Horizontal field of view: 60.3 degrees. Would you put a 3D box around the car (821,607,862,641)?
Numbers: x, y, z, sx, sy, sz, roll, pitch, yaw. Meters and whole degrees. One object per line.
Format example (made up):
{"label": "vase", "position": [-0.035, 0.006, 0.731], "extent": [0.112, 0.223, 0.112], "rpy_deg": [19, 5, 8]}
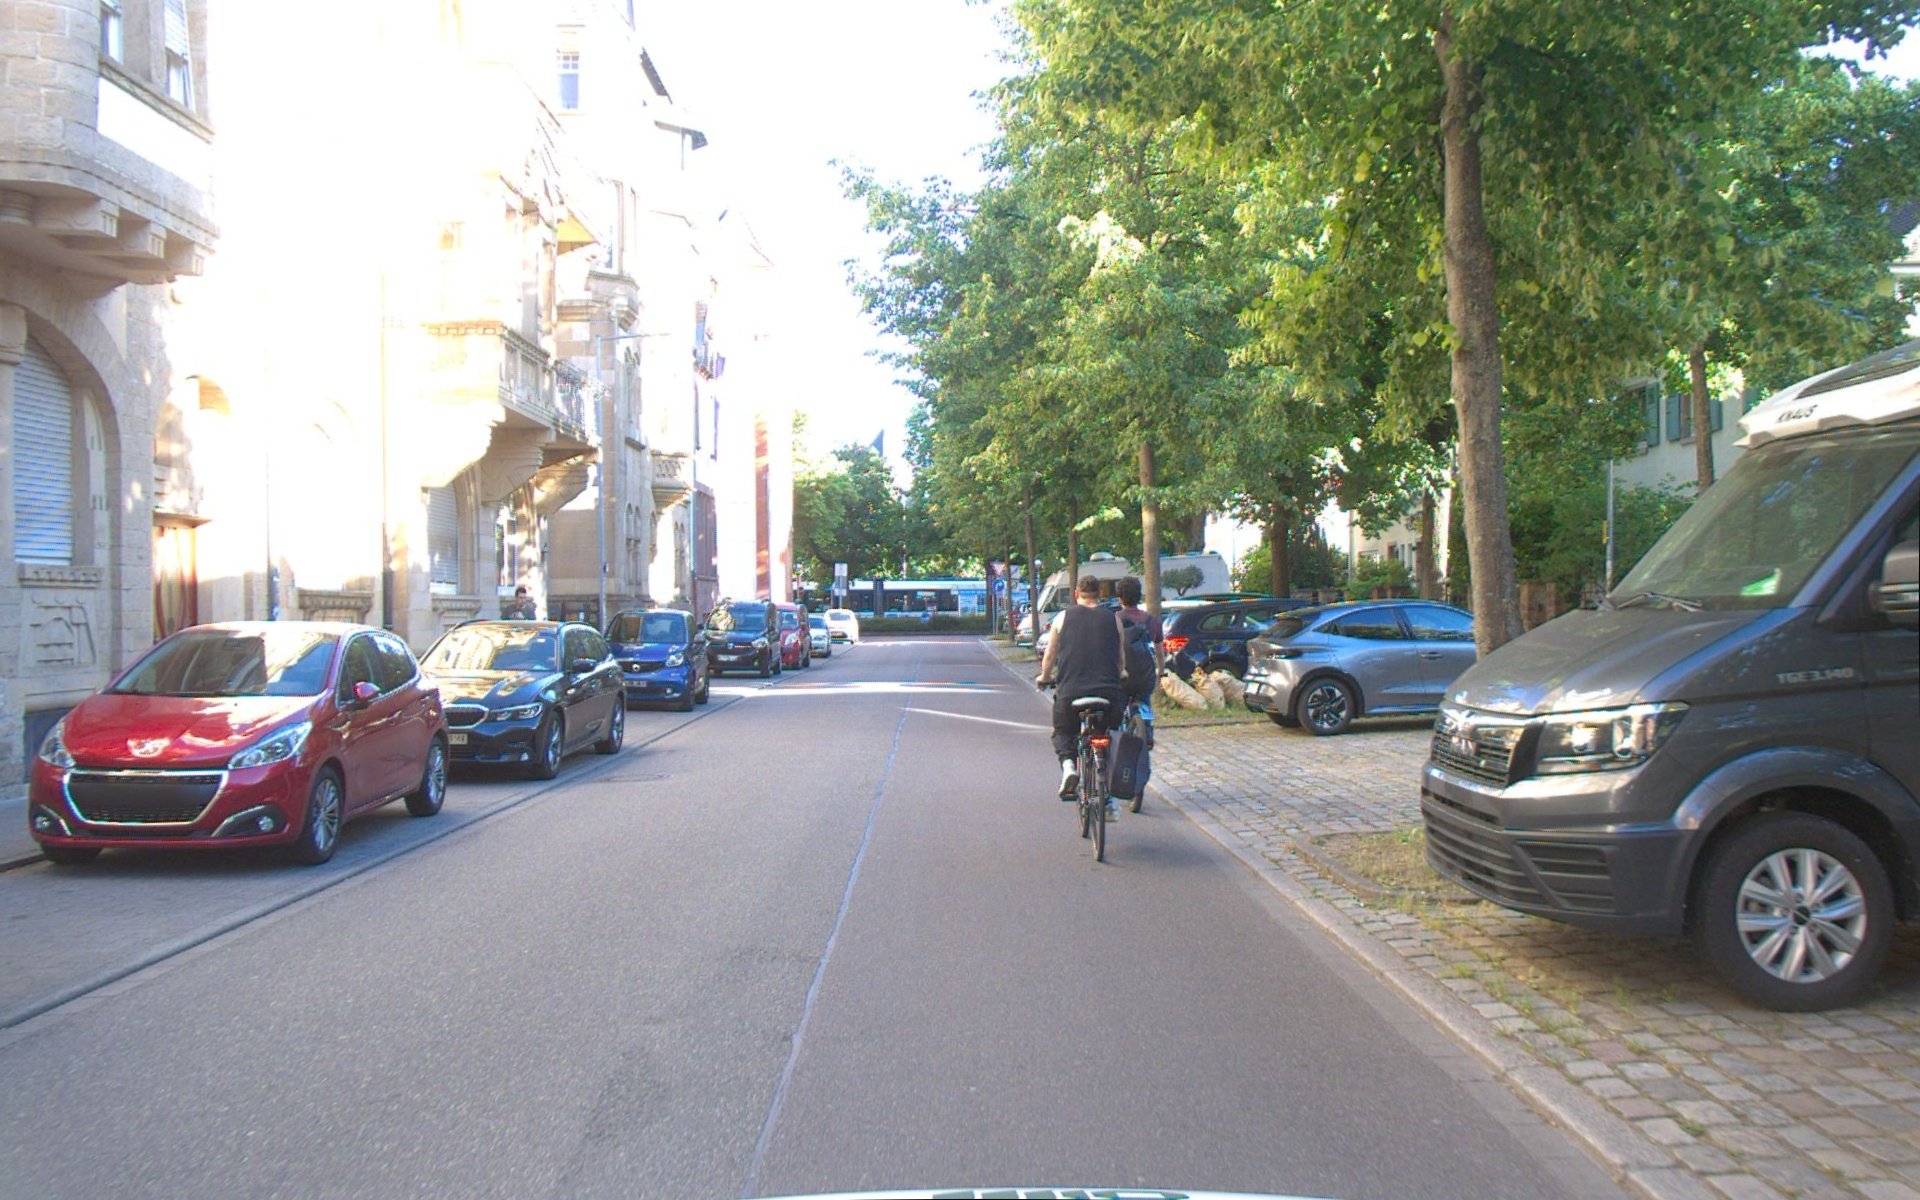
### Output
{"label": "car", "position": [-5.329, 1.061, 74.621], "extent": [1.551, 1.399, 4.131], "rpy_deg": [1, 0, 0]}

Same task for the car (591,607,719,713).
{"label": "car", "position": [-4.809, 0.913, 26.390], "extent": [1.563, 1.515, 2.735], "rpy_deg": [2, 0, -2]}

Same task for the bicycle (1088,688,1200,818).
{"label": "bicycle", "position": [1.392, 1.150, 12.809], "extent": [0.620, 0.813, 1.832], "rpy_deg": [-1, 0, -1]}

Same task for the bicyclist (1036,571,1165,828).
{"label": "bicyclist", "position": [0.889, 0.624, 10.670], "extent": [0.715, 1.575, 0.884], "rpy_deg": [1, -1, -2]}

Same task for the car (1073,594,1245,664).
{"label": "car", "position": [5.002, 0.734, 41.817], "extent": [4.056, 1.628, 1.701], "rpy_deg": [-1, -2, -3]}

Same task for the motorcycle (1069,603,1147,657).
{"label": "motorcycle", "position": [3.295, 0.679, 36.808], "extent": [1.574, 1.161, 0.671], "rpy_deg": [-2, 0, 33]}

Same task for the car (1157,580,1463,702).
{"label": "car", "position": [5.094, 0.613, 24.467], "extent": [4.136, 1.628, 1.691], "rpy_deg": [-2, -2, 1]}

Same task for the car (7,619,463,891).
{"label": "car", "position": [-4.681, 0.902, 11.303], "extent": [1.596, 1.479, 3.835], "rpy_deg": [0, 0, -3]}

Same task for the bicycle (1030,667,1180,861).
{"label": "bicycle", "position": [0.885, 0.991, 10.592], "extent": [0.722, 1.072, 1.955], "rpy_deg": [1, -1, -2]}

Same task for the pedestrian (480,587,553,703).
{"label": "pedestrian", "position": [-6.874, 0.696, 25.660], "extent": [0.919, 1.773, 0.735], "rpy_deg": [0, -1, -1]}

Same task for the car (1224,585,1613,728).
{"label": "car", "position": [5.176, 0.613, 18.977], "extent": [3.953, 1.479, 1.689], "rpy_deg": [-1, 0, -5]}

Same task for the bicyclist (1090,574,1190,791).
{"label": "bicyclist", "position": [1.409, 0.630, 13.105], "extent": [0.675, 1.655, 0.998], "rpy_deg": [0, 0, 0]}

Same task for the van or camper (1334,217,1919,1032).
{"label": "van or camper", "position": [5.403, -0.127, 6.881], "extent": [7.001, 2.692, 2.465], "rpy_deg": [-4, 0, 1]}

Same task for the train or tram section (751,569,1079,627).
{"label": "train or tram section", "position": [-2.923, -0.059, 117.437], "extent": [23.484, 3.773, 4.255], "rpy_deg": [1, -1, -23]}

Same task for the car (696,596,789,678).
{"label": "car", "position": [-5.123, 0.831, 39.437], "extent": [1.607, 1.814, 4.354], "rpy_deg": [1, 0, 0]}

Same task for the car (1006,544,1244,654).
{"label": "car", "position": [5.089, -0.027, 51.780], "extent": [7.006, 3.030, 2.462], "rpy_deg": [-3, 0, -4]}

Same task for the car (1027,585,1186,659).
{"label": "car", "position": [3.902, 0.580, 44.475], "extent": [4.002, 1.678, 1.640], "rpy_deg": [-4, 0, -3]}

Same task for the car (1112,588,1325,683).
{"label": "car", "position": [4.757, 0.675, 30.801], "extent": [3.695, 1.628, 1.691], "rpy_deg": [-2, -2, 1]}

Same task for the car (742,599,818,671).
{"label": "car", "position": [-4.993, 0.939, 46.371], "extent": [1.654, 1.857, 4.272], "rpy_deg": [1, 0, 0]}

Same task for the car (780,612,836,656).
{"label": "car", "position": [-5.236, 1.146, 57.365], "extent": [1.551, 1.367, 4.131], "rpy_deg": [1, 0, 0]}

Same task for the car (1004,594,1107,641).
{"label": "car", "position": [3.795, 0.717, 66.153], "extent": [3.907, 1.835, 1.833], "rpy_deg": [0, -1, -3]}

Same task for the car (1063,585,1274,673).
{"label": "car", "position": [4.175, 0.594, 33.538], "extent": [4.053, 1.628, 1.702], "rpy_deg": [-2, -2, 1]}

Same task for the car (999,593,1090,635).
{"label": "car", "position": [3.757, 0.628, 74.040], "extent": [3.907, 1.835, 1.833], "rpy_deg": [0, -1, -3]}

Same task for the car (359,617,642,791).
{"label": "car", "position": [-4.560, 0.954, 17.104], "extent": [1.641, 1.455, 4.550], "rpy_deg": [1, 0, 0]}
